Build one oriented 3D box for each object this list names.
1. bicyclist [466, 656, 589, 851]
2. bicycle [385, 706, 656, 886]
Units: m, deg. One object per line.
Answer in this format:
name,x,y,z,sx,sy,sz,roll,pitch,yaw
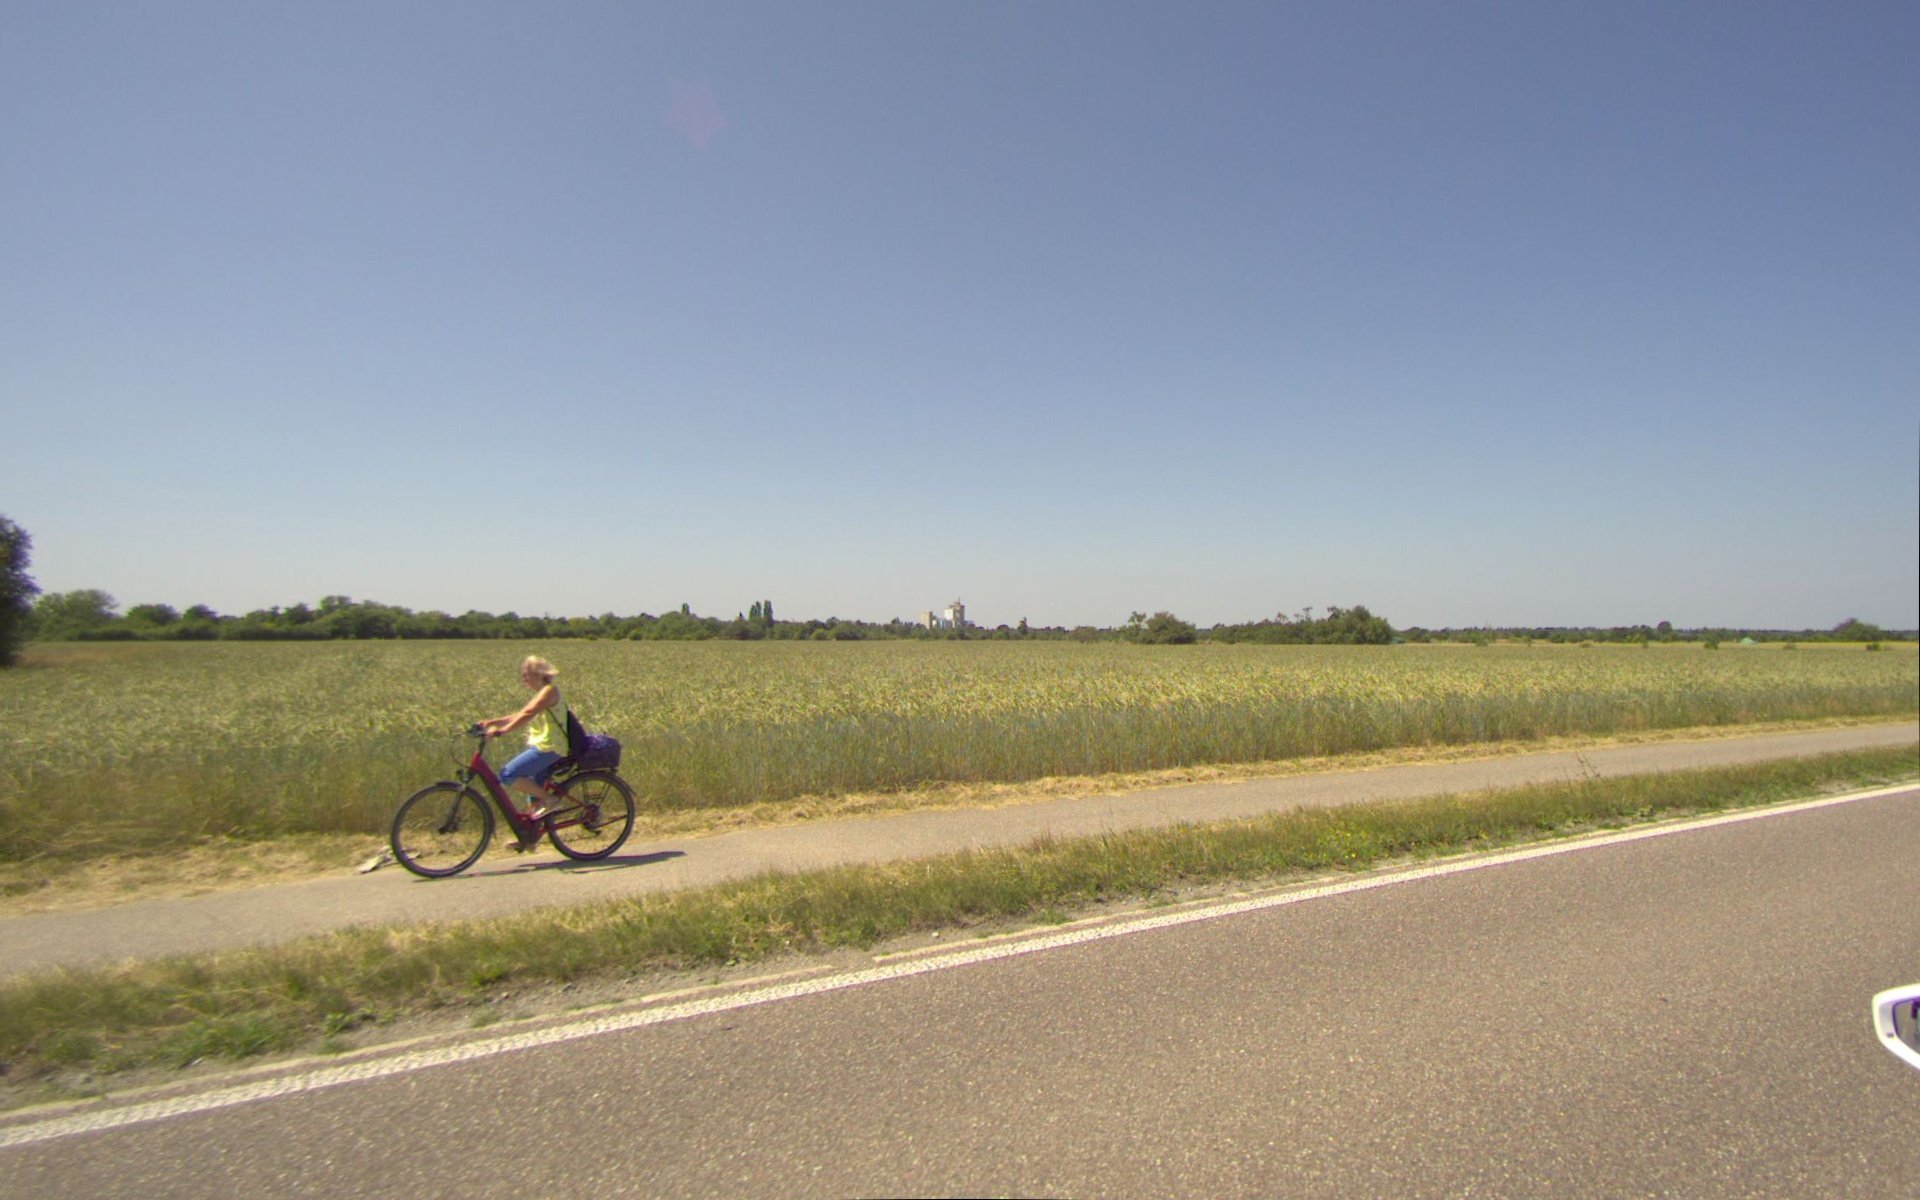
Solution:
bicyclist,-3.506,1.192,8.134,0.813,1.457,0.660,2,-1,-30
bicycle,-3.527,1.517,8.126,1.940,1.192,0.691,1,-2,-30
